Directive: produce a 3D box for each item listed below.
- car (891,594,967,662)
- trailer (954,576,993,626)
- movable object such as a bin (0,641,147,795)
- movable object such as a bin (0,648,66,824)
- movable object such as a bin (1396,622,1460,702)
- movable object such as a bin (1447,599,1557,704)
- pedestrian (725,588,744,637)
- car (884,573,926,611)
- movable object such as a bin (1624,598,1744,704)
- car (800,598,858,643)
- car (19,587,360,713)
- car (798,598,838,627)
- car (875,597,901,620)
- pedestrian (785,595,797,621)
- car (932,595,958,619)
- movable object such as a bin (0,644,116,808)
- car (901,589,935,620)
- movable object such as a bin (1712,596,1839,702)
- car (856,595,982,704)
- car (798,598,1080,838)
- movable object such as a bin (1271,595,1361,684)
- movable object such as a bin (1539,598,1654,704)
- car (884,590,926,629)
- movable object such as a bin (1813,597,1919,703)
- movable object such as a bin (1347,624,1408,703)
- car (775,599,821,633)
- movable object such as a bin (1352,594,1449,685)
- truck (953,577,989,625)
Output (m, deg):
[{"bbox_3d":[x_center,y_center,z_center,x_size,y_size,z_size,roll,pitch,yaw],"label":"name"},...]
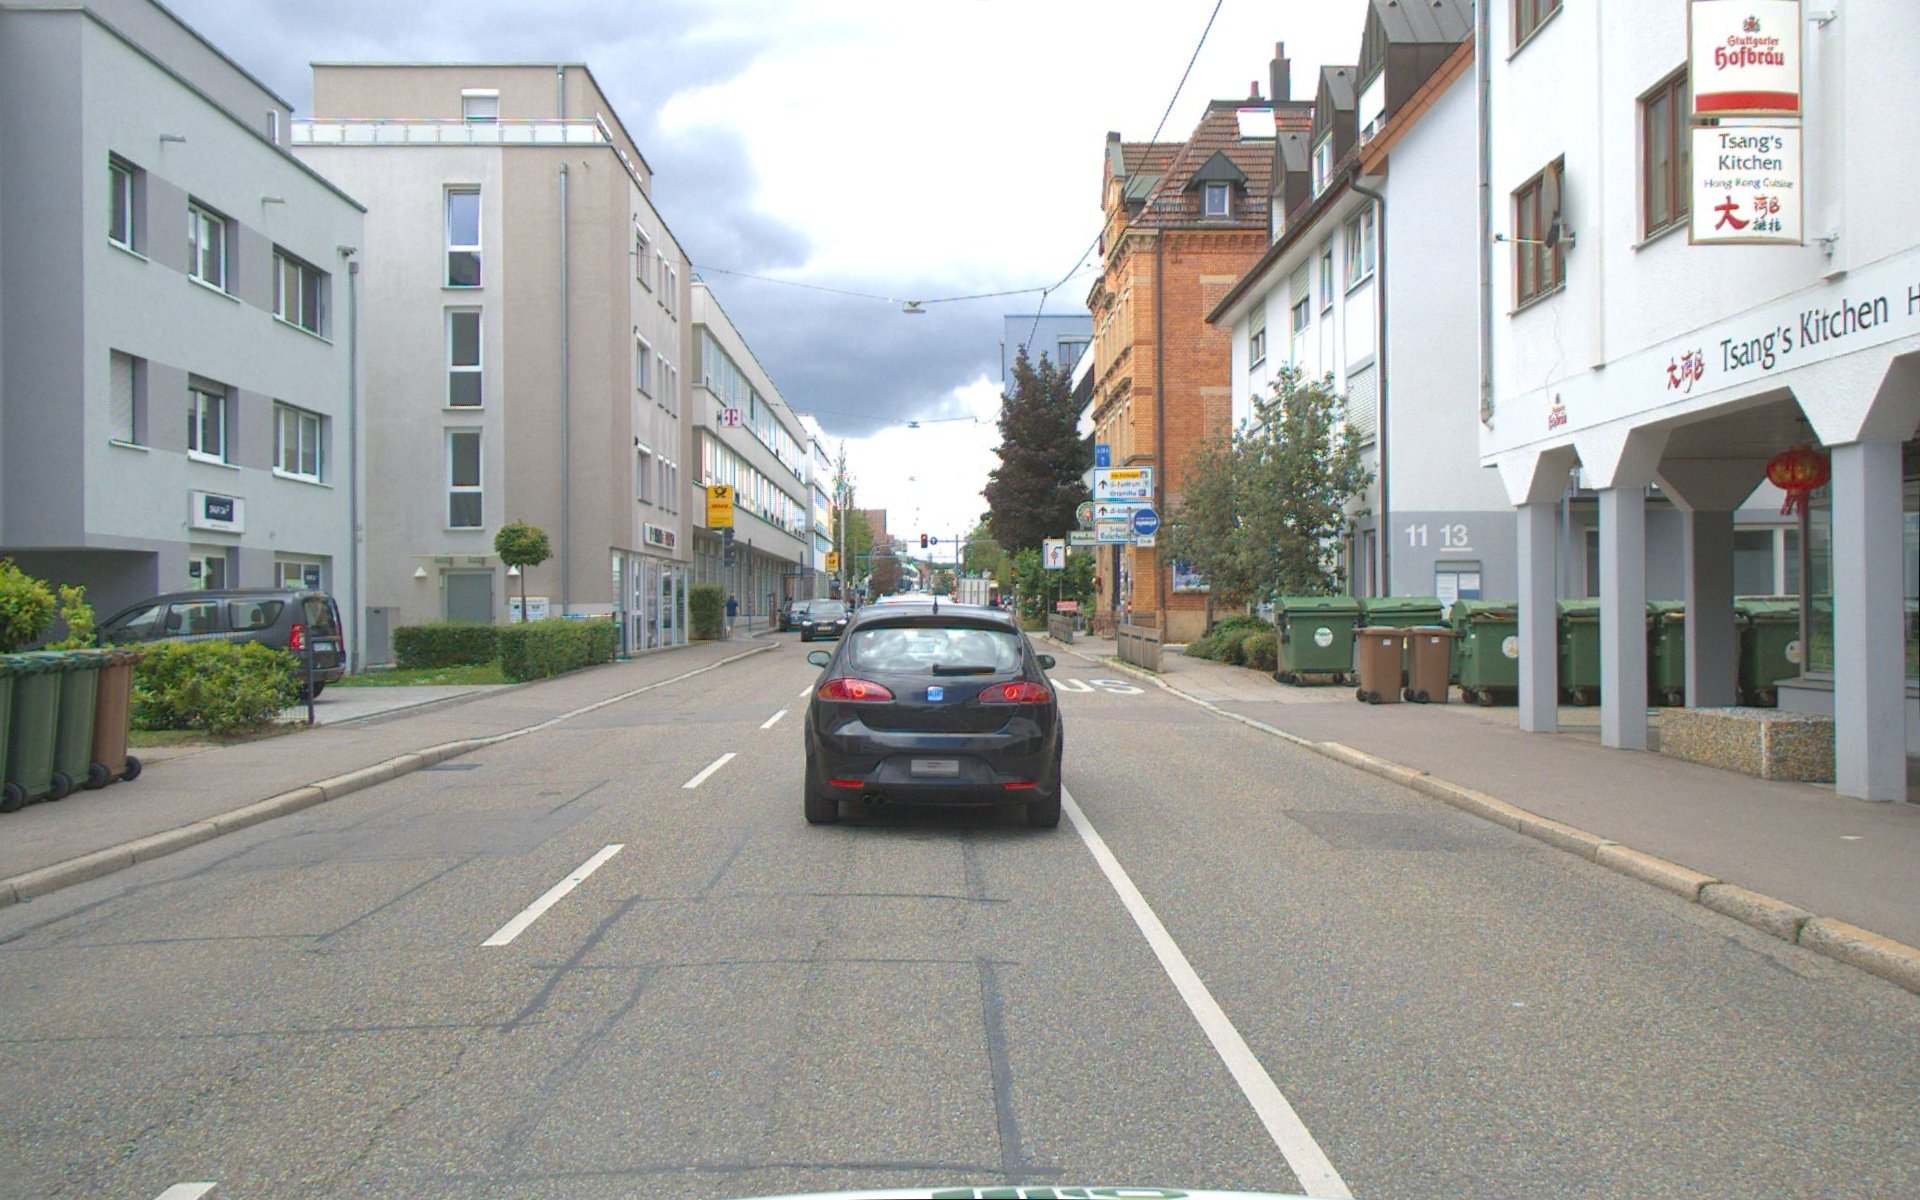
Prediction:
[{"bbox_3d":[-0.769,0.649,40.479,1.767,1.580,3.736,0,0,-2],"label":"car"},{"bbox_3d":[0.694,0.059,91.634,1.953,2.653,5.347,0,0,-2],"label":"trailer"},{"bbox_3d":[-7.079,0.924,13.169,0.922,1.171,0.612,0,0,-6],"label":"movable object such as a bin"},{"bbox_3d":[-6.980,0.941,11.653,0.937,1.171,0.839,0,0,-6],"label":"movable object such as a bin"},{"bbox_3d":[6.679,0.876,23.640,0.683,1.098,0.972,0,0,3],"label":"movable object such as a bin"},{"bbox_3d":[7.615,0.707,23.310,1.184,1.442,1.260,0,0,3],"label":"movable object such as a bin"},{"bbox_3d":[-8.441,0.473,62.005,0.630,1.800,0.809,0,0,-4],"label":"pedestrian"},{"bbox_3d":[-2.376,-0.333,72.044,1.767,1.580,3.736,0,0,-2],"label":"car"},{"bbox_3d":[10.183,0.698,23.315,1.184,1.442,1.260,0,0,3],"label":"movable object such as a bin"},{"bbox_3d":[-4.739,0.718,60.287,1.841,1.476,4.213,-3,0,-1],"label":"car"},{"bbox_3d":[-10.960,0.694,23.709,4.076,1.697,1.725,-1,-1,2],"label":"car"},{"bbox_3d":[-7.798,0.648,91.317,1.953,1.543,4.173,0,0,-2],"label":"car"},{"bbox_3d":[-5.798,0.686,133.097,1.953,1.769,4.552,-2,0,-2],"label":"car"},{"bbox_3d":[-10.935,0.498,107.025,0.642,1.651,0.681,0,0,0],"label":"pedestrian"},{"bbox_3d":[-1.082,0.483,116.761,1.767,1.629,3.736,1,0,-2],"label":"car"},{"bbox_3d":[-7.013,0.936,12.475,0.930,1.171,0.748,0,0,-6],"label":"movable object such as a bin"},{"bbox_3d":[-2.288,0.236,90.090,1.767,1.629,3.736,1,0,-2],"label":"car"},{"bbox_3d":[11.448,0.674,23.267,1.184,1.442,1.260,0,0,3],"label":"movable object such as a bin"},{"bbox_3d":[-0.629,0.696,25.106,1.767,1.519,3.736,0,0,-2],"label":"car"},{"bbox_3d":[-0.160,0.720,12.082,1.730,1.458,3.827,0,0,-1],"label":"car"},{"bbox_3d":[5.925,0.649,27.574,1.241,1.442,1.162,0,0,-1],"label":"movable object such as a bin"},{"bbox_3d":[8.951,0.701,23.320,1.184,1.442,1.260,0,0,3],"label":"movable object such as a bin"},{"bbox_3d":[-2.398,0.401,72.340,1.767,1.629,3.736,1,0,-2],"label":"car"},{"bbox_3d":[12.908,0.685,23.273,1.184,1.442,1.260,0,0,3],"label":"movable object such as a bin"},{"bbox_3d":[5.964,0.891,23.652,0.669,1.086,0.972,0,0,3],"label":"movable object such as a bin"},{"bbox_3d":[-7.768,0.732,79.651,1.874,1.543,4.173,-2,0,-2],"label":"car"},{"bbox_3d":[7.256,0.636,27.331,1.241,1.460,1.307,0,0,-1],"label":"movable object such as a bin"},{"bbox_3d":[0.612,0.047,94.444,1.953,2.653,3.259,0,0,-2],"label":"truck"}]
